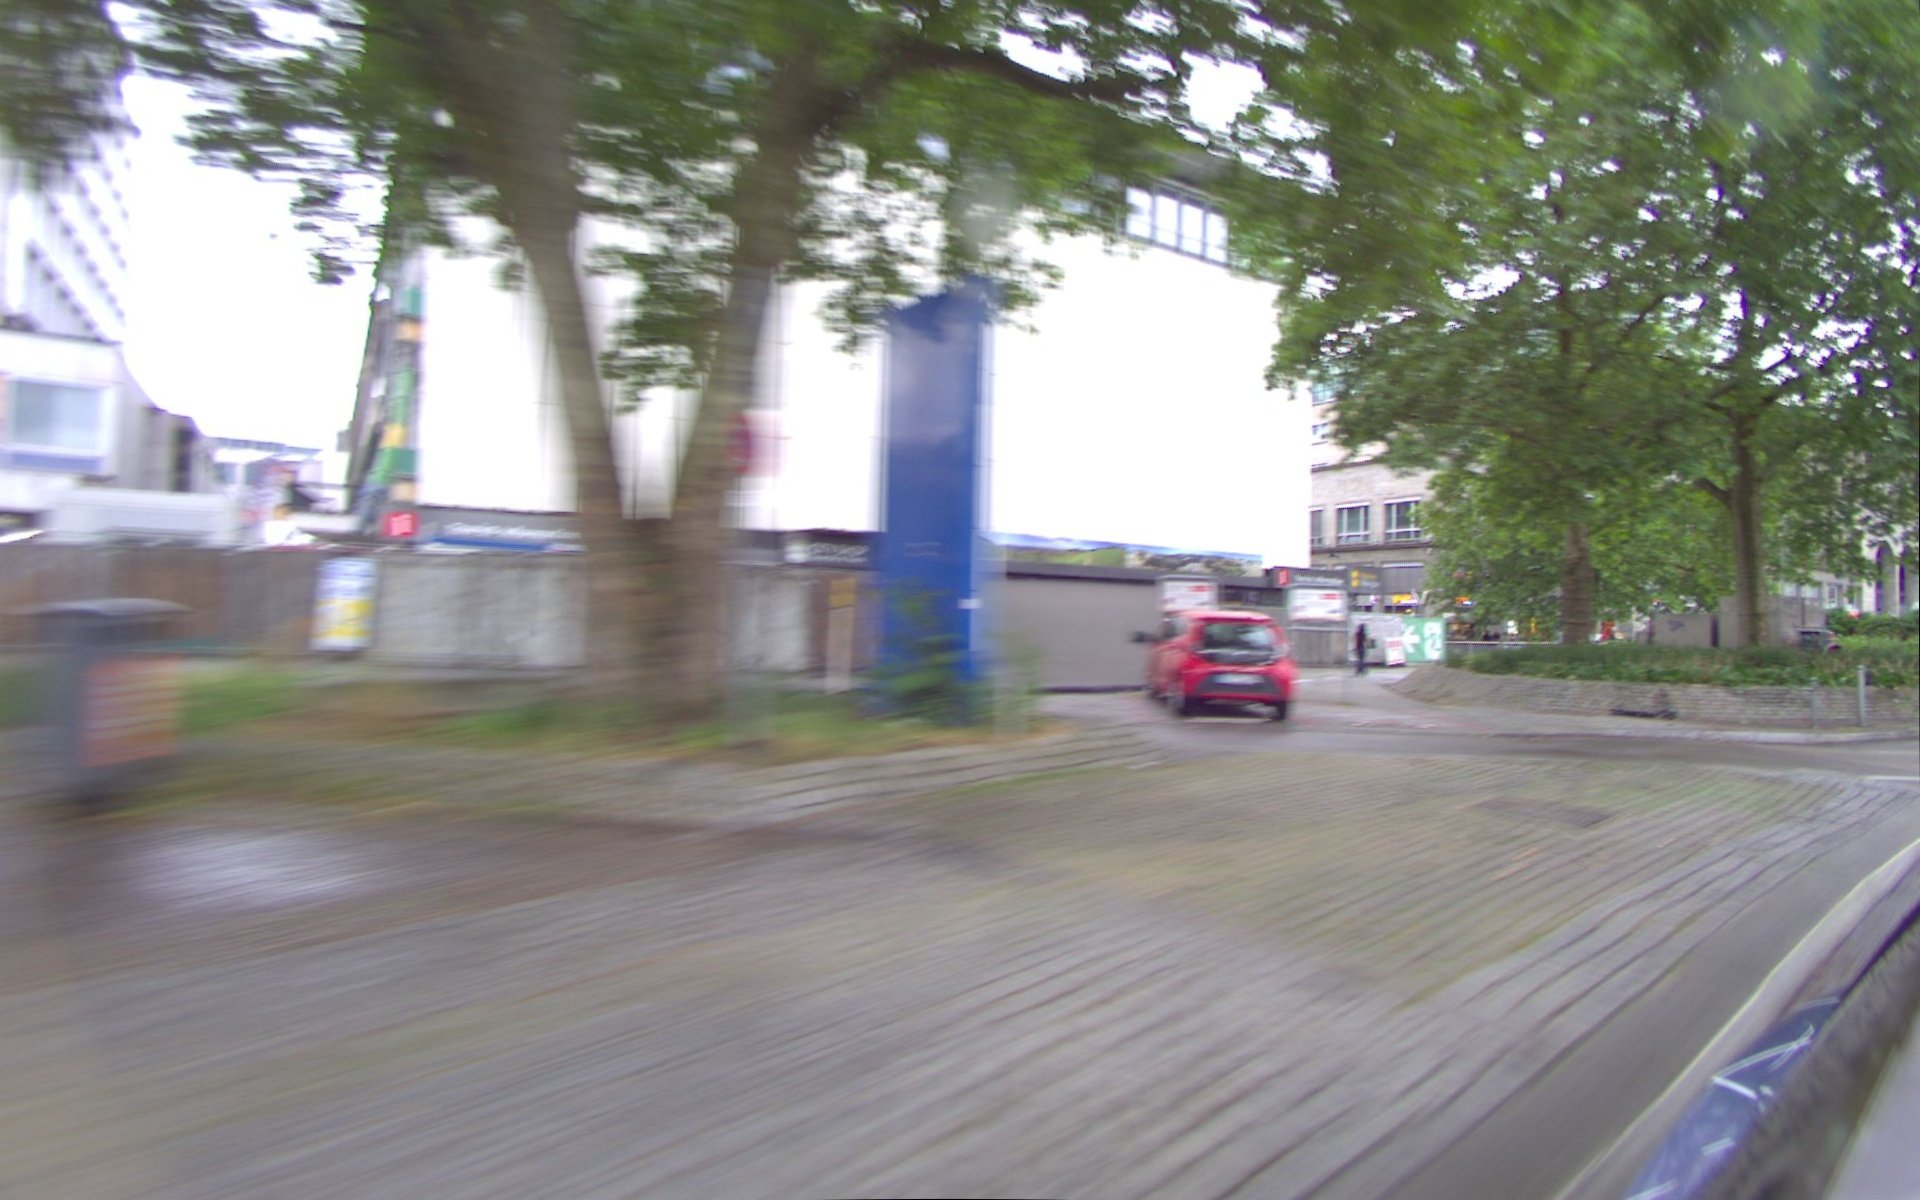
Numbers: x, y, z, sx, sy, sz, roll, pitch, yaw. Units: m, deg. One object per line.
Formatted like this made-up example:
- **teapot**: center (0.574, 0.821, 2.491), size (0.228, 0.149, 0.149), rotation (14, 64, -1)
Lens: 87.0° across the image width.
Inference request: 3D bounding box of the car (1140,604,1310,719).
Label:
- **car**: center (3.865, 0.820, 15.404), size (1.670, 1.474, 3.997), rotation (1, 0, 3)

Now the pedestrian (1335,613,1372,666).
- **pedestrian**: center (11.453, 1.125, 29.459), size (0.820, 1.512, 0.678), rotation (1, -1, -35)
